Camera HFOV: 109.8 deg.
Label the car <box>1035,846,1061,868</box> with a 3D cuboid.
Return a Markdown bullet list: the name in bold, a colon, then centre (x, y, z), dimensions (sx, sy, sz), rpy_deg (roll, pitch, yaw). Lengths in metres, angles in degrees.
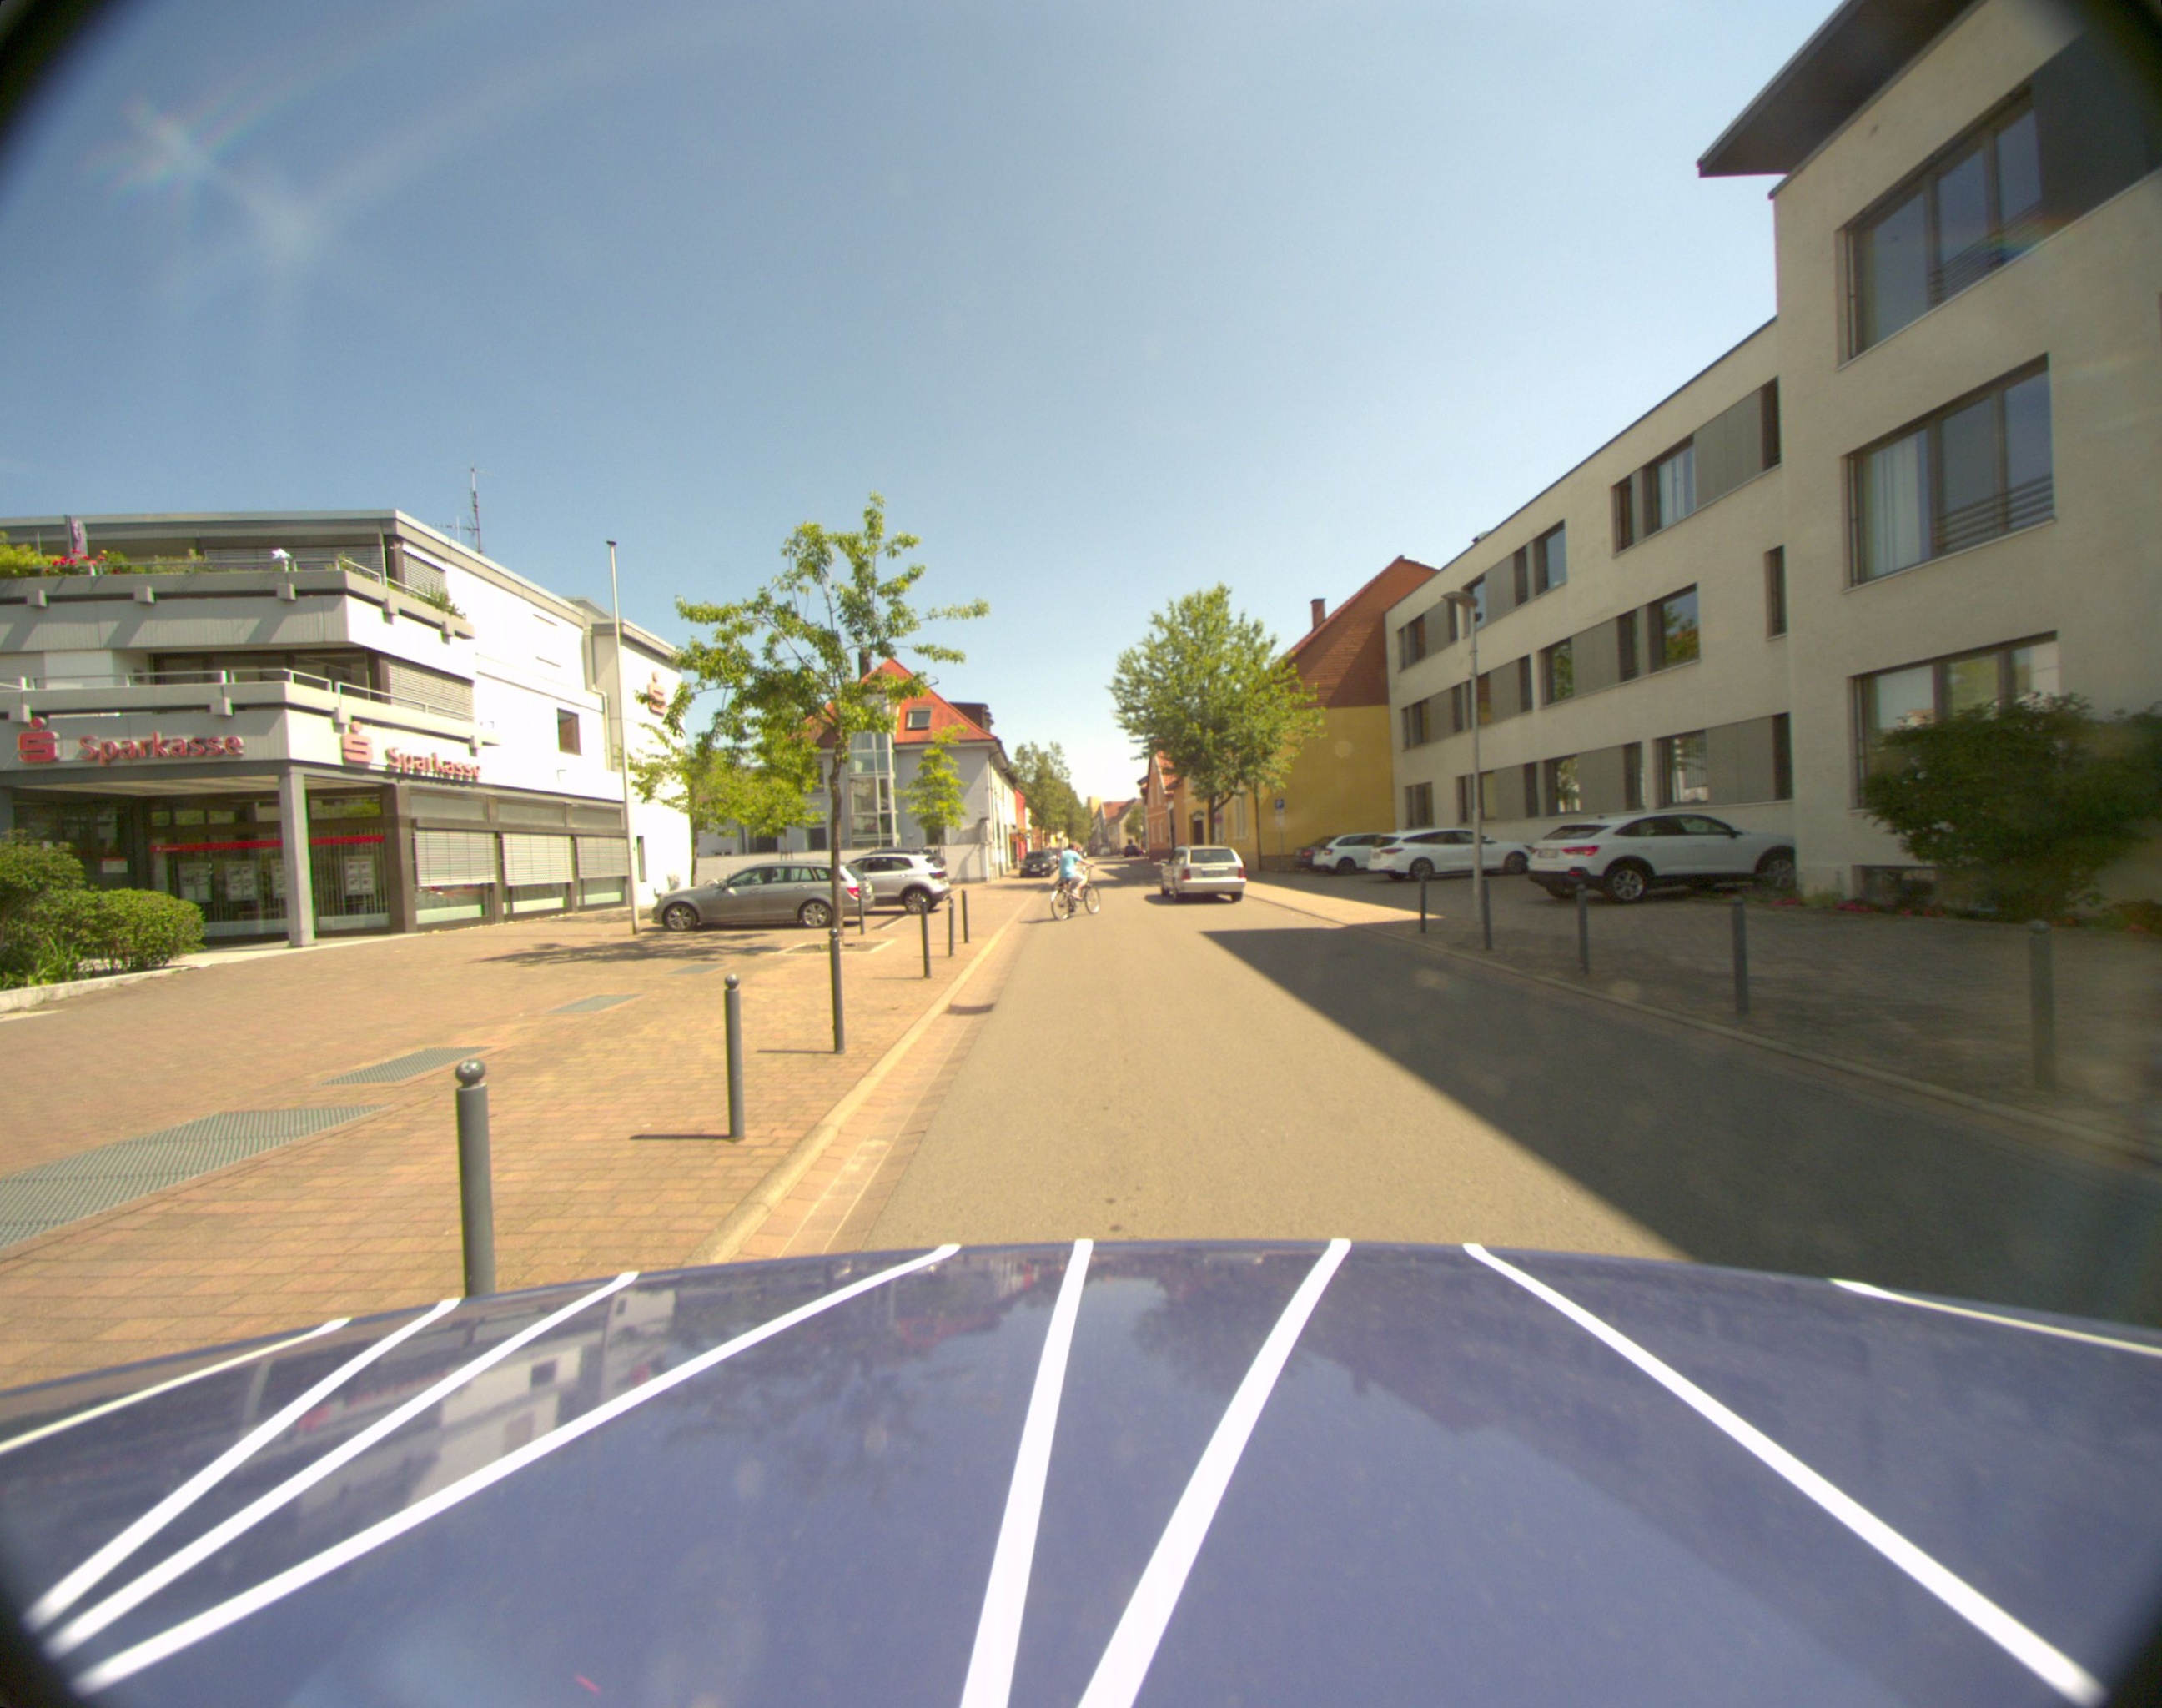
- **car**: centre (-2.387, 0.201, 56.031), dimensions (1.741, 1.504, 3.735), rpy_deg (-2, 0, -1)

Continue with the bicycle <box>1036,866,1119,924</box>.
- **bicycle**: centre (-0.045, 0.864, 16.566), dimensions (0.674, 1.103, 1.900), rpy_deg (-1, 1, 41)

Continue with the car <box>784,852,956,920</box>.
- **car**: centre (-5.397, 0.792, 19.897), dimensions (3.999, 1.564, 1.856), rpy_deg (-1, 1, -5)

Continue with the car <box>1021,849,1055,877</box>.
- **car**: centre (-2.390, 0.467, 42.599), dimensions (1.708, 1.473, 3.920), rpy_deg (-1, 1, -1)

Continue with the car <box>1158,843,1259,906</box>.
- **car**: centre (3.270, 0.454, 20.333), dimensions (1.885, 1.456, 4.435), rpy_deg (-1, 1, 0)

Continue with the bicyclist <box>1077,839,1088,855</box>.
- **bicyclist**: centre (0.188, -0.738, 82.474), dimensions (1.028, 1.635, 1.025), rpy_deg (-2, 1, 3)

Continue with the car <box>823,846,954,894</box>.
- **car**: centre (-7.470, 0.606, 29.902), dimensions (4.643, 1.761, 2.147), rpy_deg (-1, 0, -3)

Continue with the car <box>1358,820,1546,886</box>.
- **car**: centre (10.752, -0.047, 22.278), dimensions (4.515, 1.545, 1.934), rpy_deg (-4, 2, 0)

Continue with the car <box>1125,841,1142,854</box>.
- **car**: centre (6.918, -0.918, 100.097), dimensions (1.863, 1.620, 4.048), rpy_deg (-3, 1, 7)

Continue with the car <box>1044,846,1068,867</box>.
- **car**: centre (-2.067, 0.178, 62.249), dimensions (1.834, 1.579, 4.086), rpy_deg (-4, 1, -3)

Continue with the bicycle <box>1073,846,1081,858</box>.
- **bicycle**: centre (-0.402, -0.191, 76.063), dimensions (0.635, 1.227, 1.895), rpy_deg (-1, -1, 6)

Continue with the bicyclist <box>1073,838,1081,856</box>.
- **bicyclist**: centre (-0.394, -0.680, 76.192), dimensions (0.645, 1.766, 0.722), rpy_deg (-1, 0, 6)

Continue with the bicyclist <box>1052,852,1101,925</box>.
- **bicyclist**: centre (-0.091, 0.726, 16.517), dimensions (0.669, 1.518, 0.763), rpy_deg (-1, 1, 41)

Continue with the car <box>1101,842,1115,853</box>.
- **car**: centre (5.809, -1.358, 162.874), dimensions (2.443, 2.224, 4.958), rpy_deg (-3, 1, -3)

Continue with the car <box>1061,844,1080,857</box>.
- **car**: centre (-1.388, -0.507, 100.257), dimensions (1.928, 1.594, 4.110), rpy_deg (-3, 1, 7)

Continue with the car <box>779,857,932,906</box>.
- **car**: centre (-7.305, 0.854, 25.013), dimensions (4.549, 1.432, 1.838), rpy_deg (-1, 1, -6)

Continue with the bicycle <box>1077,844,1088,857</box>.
- **bicycle**: centre (0.184, -0.389, 82.482), dimensions (0.959, 1.363, 2.406), rpy_deg (-2, 1, 4)

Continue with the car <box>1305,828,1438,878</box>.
- **car**: centre (10.371, -0.043, 27.327), dimensions (3.997, 1.443, 1.807), rpy_deg (-4, 0, 0)

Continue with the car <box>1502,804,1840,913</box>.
- **car**: centre (10.638, 0.063, 13.980), dimensions (4.518, 1.545, 2.147), rpy_deg (-4, 1, -2)

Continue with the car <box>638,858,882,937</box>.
- **car**: centre (-6.922, 0.912, 16.860), dimensions (4.589, 1.504, 1.915), rpy_deg (-1, 1, -6)

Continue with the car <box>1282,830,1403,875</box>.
- **car**: centre (10.264, -0.052, 29.995), dimensions (3.998, 1.423, 1.971), rpy_deg (-4, 0, -4)
